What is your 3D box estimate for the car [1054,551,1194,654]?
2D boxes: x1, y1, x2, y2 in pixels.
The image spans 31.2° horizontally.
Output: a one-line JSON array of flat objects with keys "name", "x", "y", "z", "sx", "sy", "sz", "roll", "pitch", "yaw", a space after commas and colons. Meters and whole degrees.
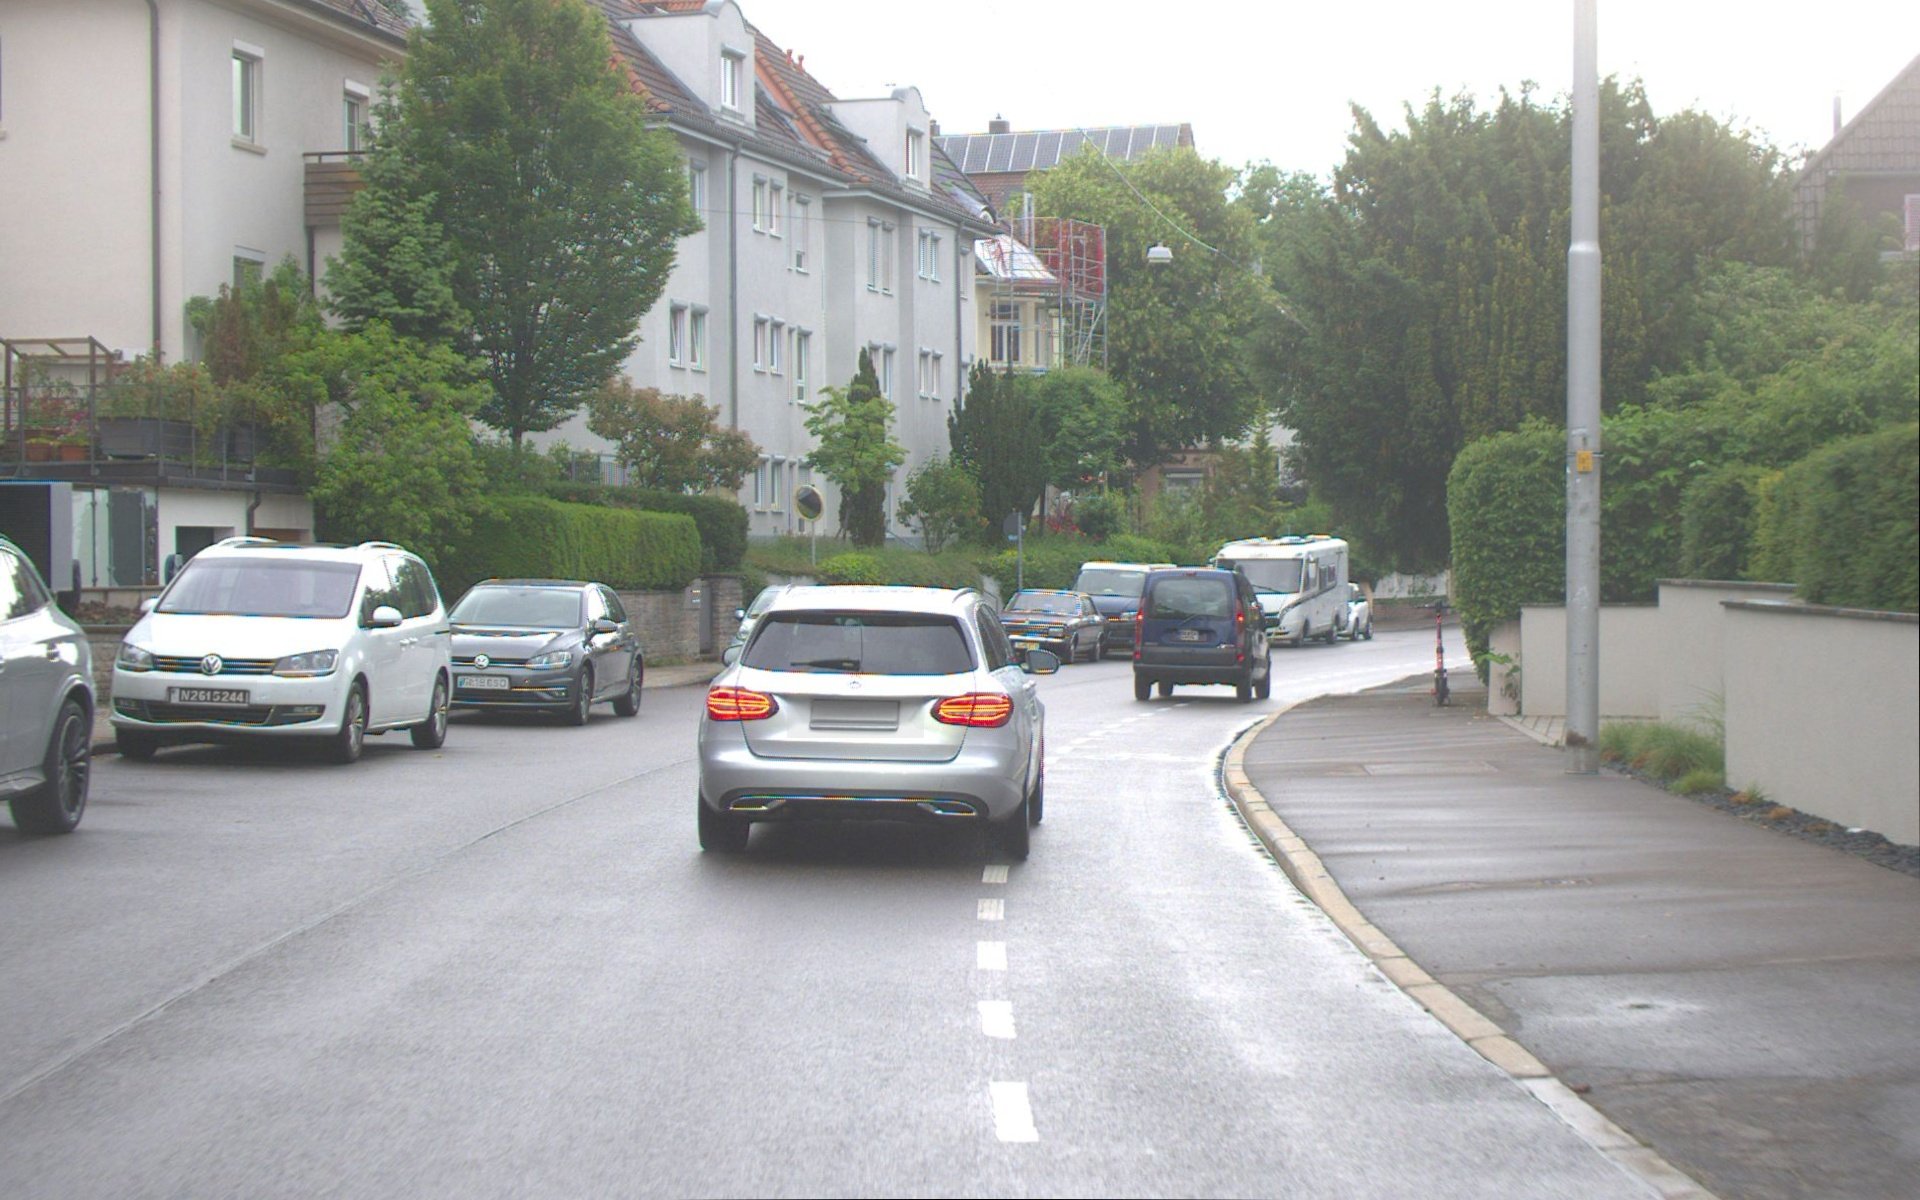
[{"name": "car", "x": 3.545, "y": 0.057, "z": 73.351, "sx": 1.831, "sy": 2.049, "sz": 5.006, "roll": 2, "pitch": 0, "yaw": 16}]

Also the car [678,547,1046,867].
[{"name": "car", "x": -0.513, "y": 0.512, "z": 19.428, "sx": 1.816, "sy": 1.551, "sz": 4.000, "roll": 2, "pitch": 1, "yaw": -1}]

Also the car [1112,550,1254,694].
[{"name": "car", "x": 3.188, "y": 0.294, "z": 48.518, "sx": 1.843, "sy": 1.897, "sz": 3.999, "roll": 2, "pitch": 0, "yaw": 5}]

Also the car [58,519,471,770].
[{"name": "car", "x": -5.380, "y": 0.294, "z": 27.271, "sx": 1.994, "sy": 1.696, "sz": 4.738, "roll": 4, "pitch": 1, "yaw": 3}]

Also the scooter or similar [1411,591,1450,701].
[{"name": "scooter or similar", "x": 5.723, "y": 0.556, "z": 41.743, "sx": 0.450, "sy": 1.303, "sz": 1.481, "roll": 0, "pitch": -1, "yaw": 8}]

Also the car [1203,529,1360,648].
[{"name": "car", "x": 8.163, "y": -0.347, "z": 86.639, "sx": 2.393, "sy": 2.762, "sz": 6.526, "roll": 2, "pitch": 2, "yaw": 19}]

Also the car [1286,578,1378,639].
[{"name": "car", "x": 9.963, "y": 0.200, "z": 91.928, "sx": 1.714, "sy": 1.442, "sz": 3.252, "roll": 2, "pitch": 3, "yaw": 19}]

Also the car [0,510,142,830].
[{"name": "car", "x": -5.734, "y": 0.298, "z": 17.175, "sx": 1.993, "sy": 1.575, "sz": 4.761, "roll": 4, "pitch": 1, "yaw": 1}]

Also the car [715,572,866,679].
[{"name": "car", "x": -2.468, "y": 0.359, "z": 50.881, "sx": 1.605, "sy": 1.481, "sz": 3.486, "roll": 2, "pitch": 0, "yaw": 7}]

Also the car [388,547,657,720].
[{"name": "car", "x": -4.458, "y": 0.309, "z": 35.650, "sx": 1.792, "sy": 1.575, "sz": 4.137, "roll": 4, "pitch": 1, "yaw": 6}]

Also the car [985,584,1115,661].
[{"name": "car", "x": 1.828, "y": 0.410, "z": 68.173, "sx": 1.644, "sy": 1.412, "sz": 4.610, "roll": 2, "pitch": 1, "yaw": 13}]
